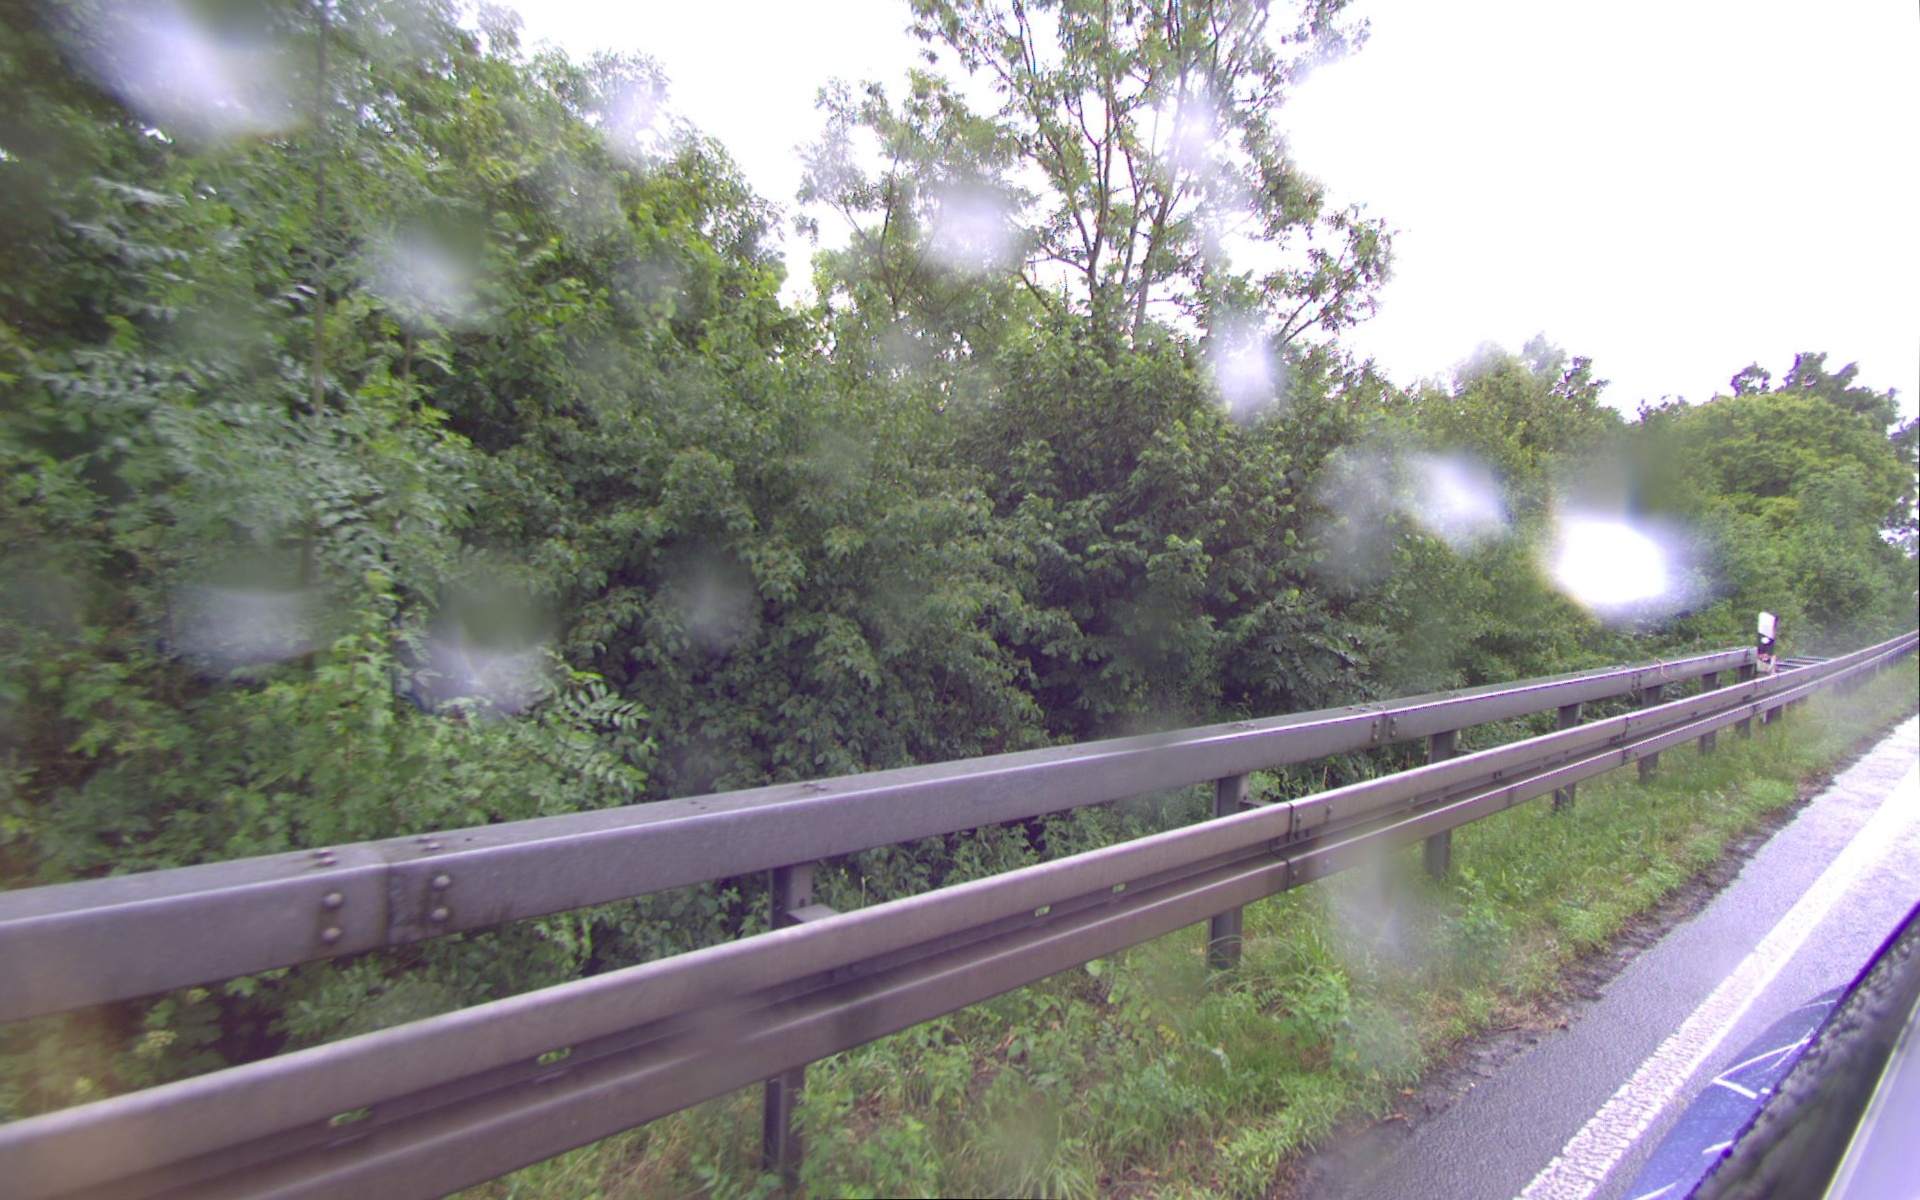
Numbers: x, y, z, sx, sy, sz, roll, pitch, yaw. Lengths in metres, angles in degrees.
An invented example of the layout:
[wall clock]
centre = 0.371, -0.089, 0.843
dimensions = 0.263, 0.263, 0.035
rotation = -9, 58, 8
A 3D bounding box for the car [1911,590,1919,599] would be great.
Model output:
[car]
centre = 122.820, -0.765, 129.712
dimensions = 1.139, 1.144, 2.517
rotation = 1, 1, 38
